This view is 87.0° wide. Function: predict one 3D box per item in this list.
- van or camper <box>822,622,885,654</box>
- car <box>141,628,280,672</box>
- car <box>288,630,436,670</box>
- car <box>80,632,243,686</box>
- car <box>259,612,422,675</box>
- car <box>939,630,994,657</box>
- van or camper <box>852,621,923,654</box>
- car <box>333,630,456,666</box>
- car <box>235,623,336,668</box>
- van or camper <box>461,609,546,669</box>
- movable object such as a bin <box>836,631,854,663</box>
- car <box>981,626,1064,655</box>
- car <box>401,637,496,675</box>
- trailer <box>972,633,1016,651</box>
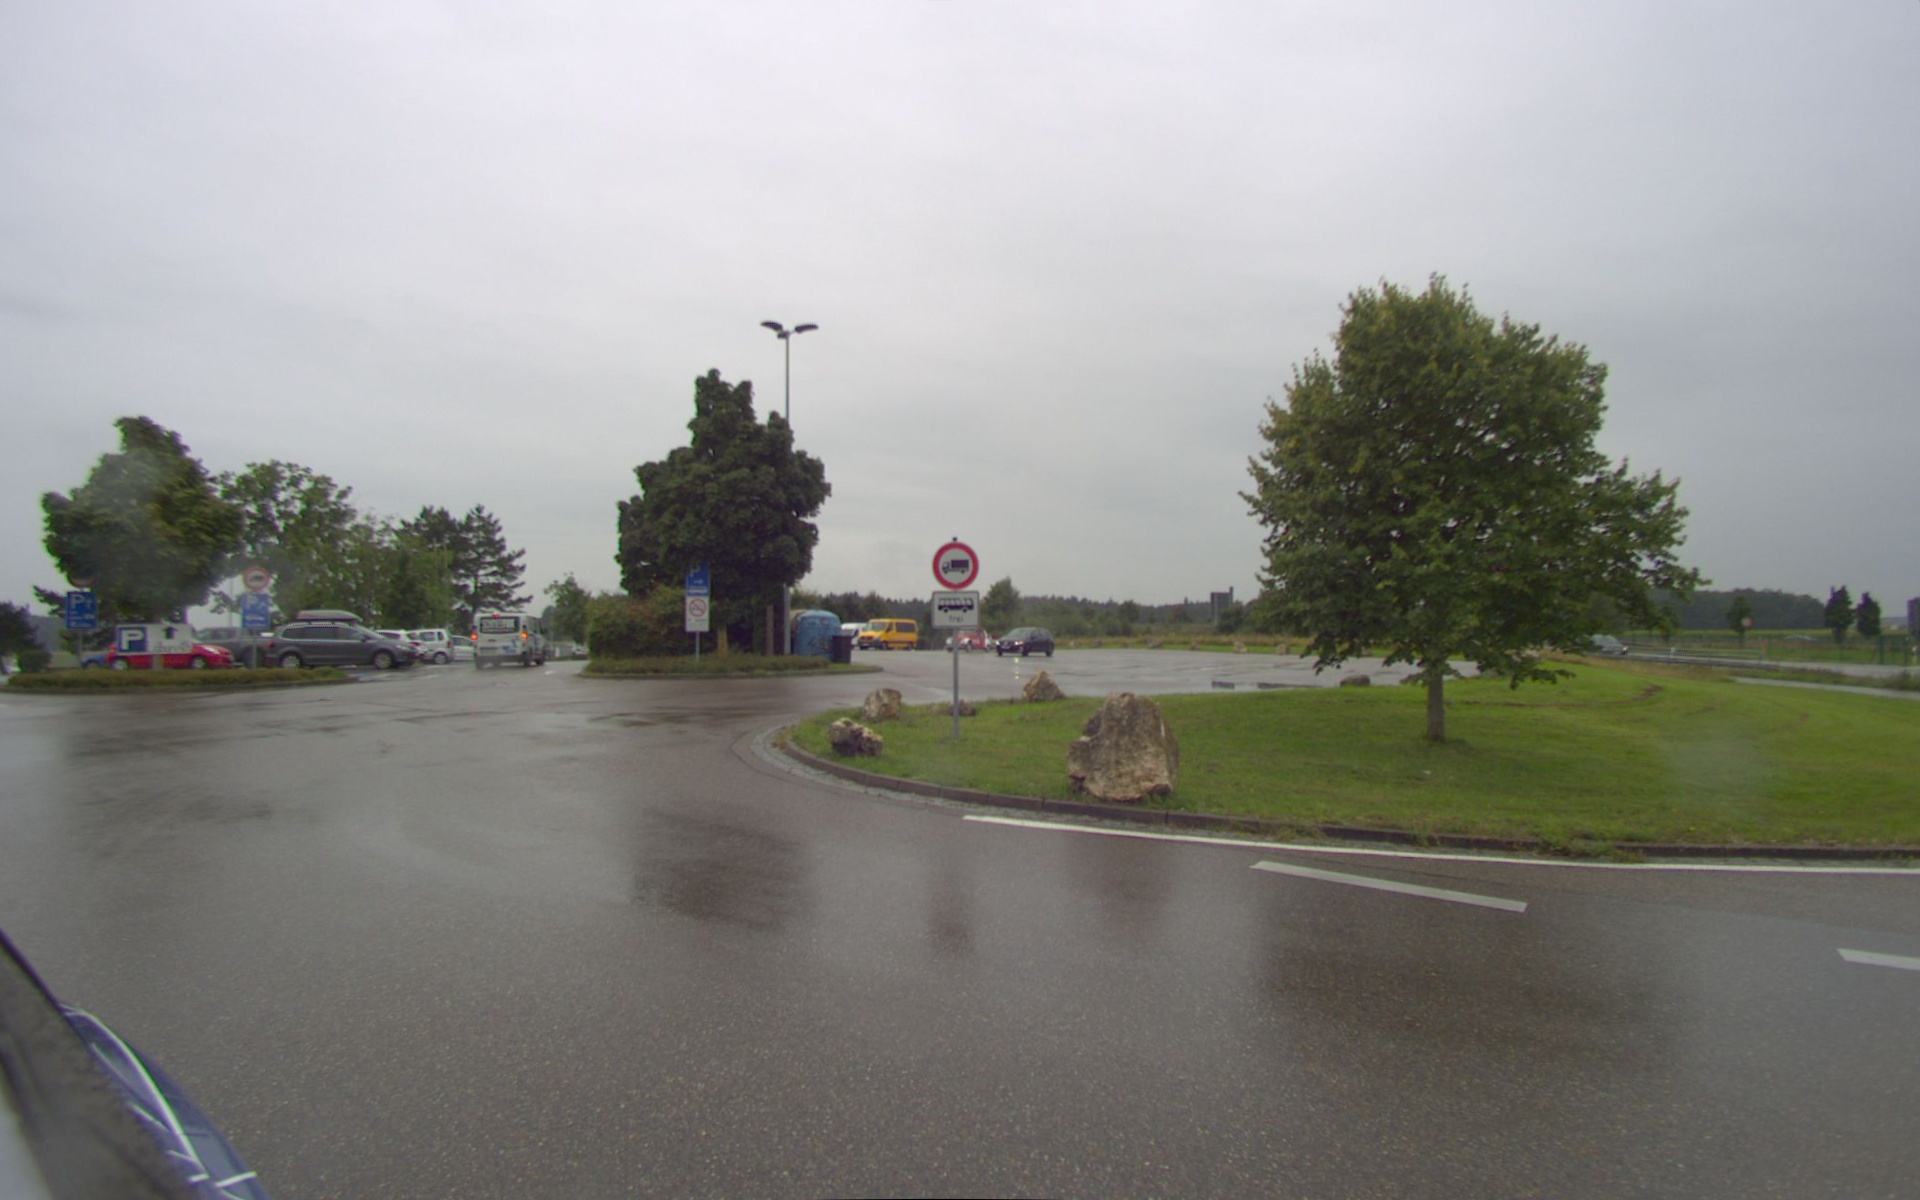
[{"bbox_3d":[-9.318,3.358,89.491,1.990,2.736,7.002,1,-2,27],"label":"van or camper"},{"bbox_3d":[-31.462,2.070,42.646,4.325,1.792,1.931,0,-1,-20],"label":"car"},{"bbox_3d":[-23.286,1.929,39.601,4.687,1.483,1.891,0,-1,-17],"label":"car"},{"bbox_3d":[-29.544,2.151,37.609,4.325,1.900,1.931,0,-1,-20],"label":"car"},{"bbox_3d":[-22.456,1.553,36.897,4.687,2.205,2.006,0,-1,-17],"label":"car"},{"bbox_3d":[0.427,2.624,60.772,1.544,1.567,4.014,-1,-2,30],"label":"car"},{"bbox_3d":[-5.167,2.723,73.390,2.124,2.264,6.357,-1,-2,27],"label":"van or camper"},{"bbox_3d":[-26.252,2.203,47.147,4.687,1.599,2.006,0,-1,-17],"label":"car"},{"bbox_3d":[-32.343,2.160,48.615,3.720,2.029,1.792,0,-2,-21],"label":"car"},{"bbox_3d":[-17.092,1.401,38.143,2.157,1.960,5.213,1,1,-16],"label":"van or camper"},{"bbox_3d":[-3.403,1.400,30.065,0.444,0.946,0.488,0,-2,4],"label":"movable object such as a bin"},{"bbox_3d":[3.232,2.116,52.403,4.009,1.444,1.784,2,-2,-32],"label":"car"},{"bbox_3d":[-30.044,3.255,59.585,4.687,2.097,2.006,0,-1,-17],"label":"car"},{"bbox_3d":[2.163,2.675,63.889,1.583,1.075,2.998,-2,-3,30],"label":"trailer"}]
